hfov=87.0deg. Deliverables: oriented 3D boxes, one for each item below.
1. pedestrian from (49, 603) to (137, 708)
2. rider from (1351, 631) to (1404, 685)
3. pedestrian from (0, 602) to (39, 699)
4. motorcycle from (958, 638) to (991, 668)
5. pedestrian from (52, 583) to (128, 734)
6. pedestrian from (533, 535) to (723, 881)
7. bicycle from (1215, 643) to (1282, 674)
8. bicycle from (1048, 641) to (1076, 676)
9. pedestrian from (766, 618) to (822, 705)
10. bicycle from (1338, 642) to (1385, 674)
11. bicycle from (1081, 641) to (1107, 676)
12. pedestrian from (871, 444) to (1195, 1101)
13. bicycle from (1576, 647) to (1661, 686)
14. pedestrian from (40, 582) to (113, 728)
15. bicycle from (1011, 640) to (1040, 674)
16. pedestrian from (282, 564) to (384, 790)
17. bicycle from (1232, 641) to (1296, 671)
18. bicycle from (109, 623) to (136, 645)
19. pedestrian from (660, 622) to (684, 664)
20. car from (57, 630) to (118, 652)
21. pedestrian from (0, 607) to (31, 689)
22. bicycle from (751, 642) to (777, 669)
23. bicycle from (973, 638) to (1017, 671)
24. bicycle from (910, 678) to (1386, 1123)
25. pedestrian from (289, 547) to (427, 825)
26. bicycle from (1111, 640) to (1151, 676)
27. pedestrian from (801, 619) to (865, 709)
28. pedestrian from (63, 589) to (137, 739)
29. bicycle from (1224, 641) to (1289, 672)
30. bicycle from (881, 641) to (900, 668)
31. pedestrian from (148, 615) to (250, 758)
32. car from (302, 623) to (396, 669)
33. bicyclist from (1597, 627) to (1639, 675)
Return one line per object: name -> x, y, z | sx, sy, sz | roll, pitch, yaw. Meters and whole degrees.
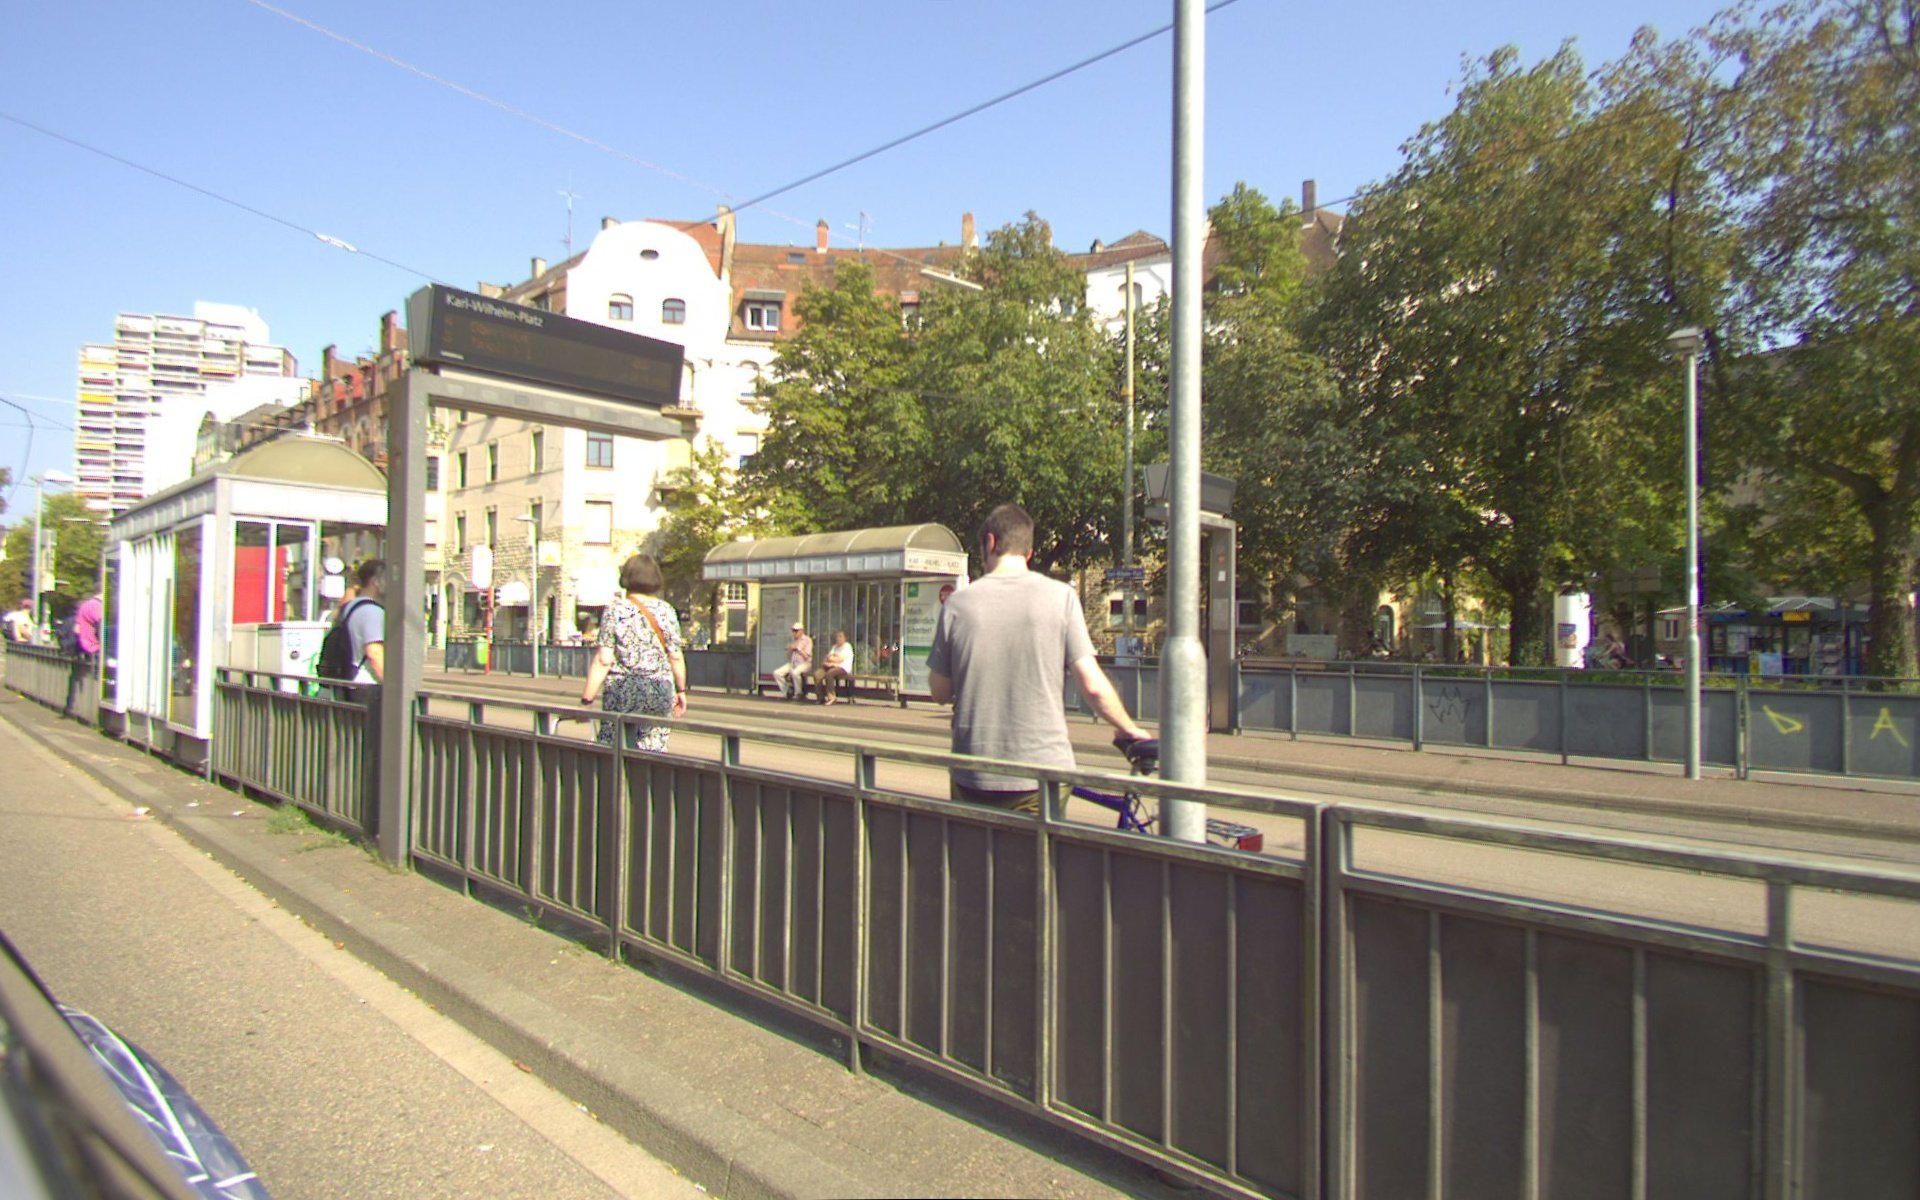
pedestrian -> -14.242, 0.902, 16.639 | 0.863, 1.667, 0.807 | -1, -3, 28
rider -> 12.154, 1.657, 29.440 | 0.983, 1.523, 1.115 | 1, -2, -44
pedestrian -> -18.018, 0.959, 19.337 | 0.552, 1.816, 0.676 | 3, -3, -45
motorcycle -> 0.653, 2.252, 43.405 | 0.674, 1.186, 1.867 | 0, -1, 27
pedestrian -> -11.086, 0.733, 12.892 | 0.634, 1.862, 0.629 | -2, -3, 44
pedestrian -> -1.867, 0.567, 5.726 | 0.680, 1.774, 0.759 | -1, -3, 41
bicycle -> 10.859, 2.192, 38.099 | 2.331, 1.112, 0.764 | -1, -2, 40
bicycle -> 4.251, 2.405, 41.993 | 0.859, 1.381, 2.293 | 0, -2, 13
pedestrian -> -2.905, 1.062, 17.719 | 0.718, 1.467, 0.669 | -2, -3, 43
bicycle -> 14.364, 2.068, 36.217 | 2.059, 1.112, 0.657 | 2, -2, -40
bicycle -> 5.527, 2.374, 41.672 | 0.859, 1.381, 2.293 | 0, -2, 13
pedestrian -> 0.239, 0.475, 3.277 | 0.796, 1.780, 0.682 | -1, -3, 41
bicycle -> 19.297, 1.946, 29.674 | 2.043, 1.112, 0.656 | 0, -2, 0
pedestrian -> -11.622, 0.712, 13.316 | 0.634, 1.862, 0.629 | -2, -3, 44
bicycle -> 2.790, 2.385, 42.662 | 0.859, 1.381, 2.293 | 0, -2, 13
pedestrian -> -5.163, 0.614, 8.335 | 0.533, 1.774, 0.546 | -1, -3, 41
bicycle -> 11.785, 2.156, 39.300 | 2.331, 1.112, 0.648 | -1, -2, 40
bicycle -> -71.864, 2.912, 86.825 | 3.549, 1.872, 1.003 | -1, -1, 37
pedestrian -> -12.910, 1.916, 45.342 | 0.672, 1.882, 0.726 | -1, -3, 38
car -> -83.818, 3.963, 97.245 | 1.982, 2.029, 3.979 | 0, -2, 15
pedestrian -> -20.959, 1.066, 22.287 | 0.720, 1.783, 0.739 | 0, -4, -45
bicycle -> -8.501, 2.403, 43.889 | 0.687, 1.087, 2.342 | 0, -1, -1
bicycle -> 1.509, 2.306, 43.048 | 0.864, 1.381, 2.279 | -1, -3, 31
bicycle -> 0.536, 0.868, 3.543 | 0.466, 1.112, 1.740 | 2, -3, -40
pedestrian -> -4.217, 0.573, 7.088 | 0.729, 1.820, 0.597 | -1, -3, 41
bicycle -> 6.955, 2.339, 41.052 | 0.864, 1.381, 2.280 | -1, -3, 30
pedestrian -> -2.128, 1.055, 16.967 | 0.718, 1.467, 0.784 | -2, -3, 43
pedestrian -> -10.580, 0.775, 12.450 | 0.607, 1.777, 0.582 | -2, -3, 44
bicycle -> 11.328, 2.144, 38.691 | 2.331, 1.112, 0.648 | -1, -2, 40
bicycle -> -2.976, 2.320, 43.291 | 0.687, 1.087, 2.341 | 0, -2, -1
pedestrian -> -7.766, 0.856, 10.333 | 0.622, 1.389, 0.700 | -2, -3, 42
car -> -23.380, 1.730, 38.672 | 4.483, 1.663, 1.971 | -2, -3, 44
bicyclist -> 19.299, 1.488, 29.693 | 0.748, 1.370, 0.656 | 0, -2, 0
